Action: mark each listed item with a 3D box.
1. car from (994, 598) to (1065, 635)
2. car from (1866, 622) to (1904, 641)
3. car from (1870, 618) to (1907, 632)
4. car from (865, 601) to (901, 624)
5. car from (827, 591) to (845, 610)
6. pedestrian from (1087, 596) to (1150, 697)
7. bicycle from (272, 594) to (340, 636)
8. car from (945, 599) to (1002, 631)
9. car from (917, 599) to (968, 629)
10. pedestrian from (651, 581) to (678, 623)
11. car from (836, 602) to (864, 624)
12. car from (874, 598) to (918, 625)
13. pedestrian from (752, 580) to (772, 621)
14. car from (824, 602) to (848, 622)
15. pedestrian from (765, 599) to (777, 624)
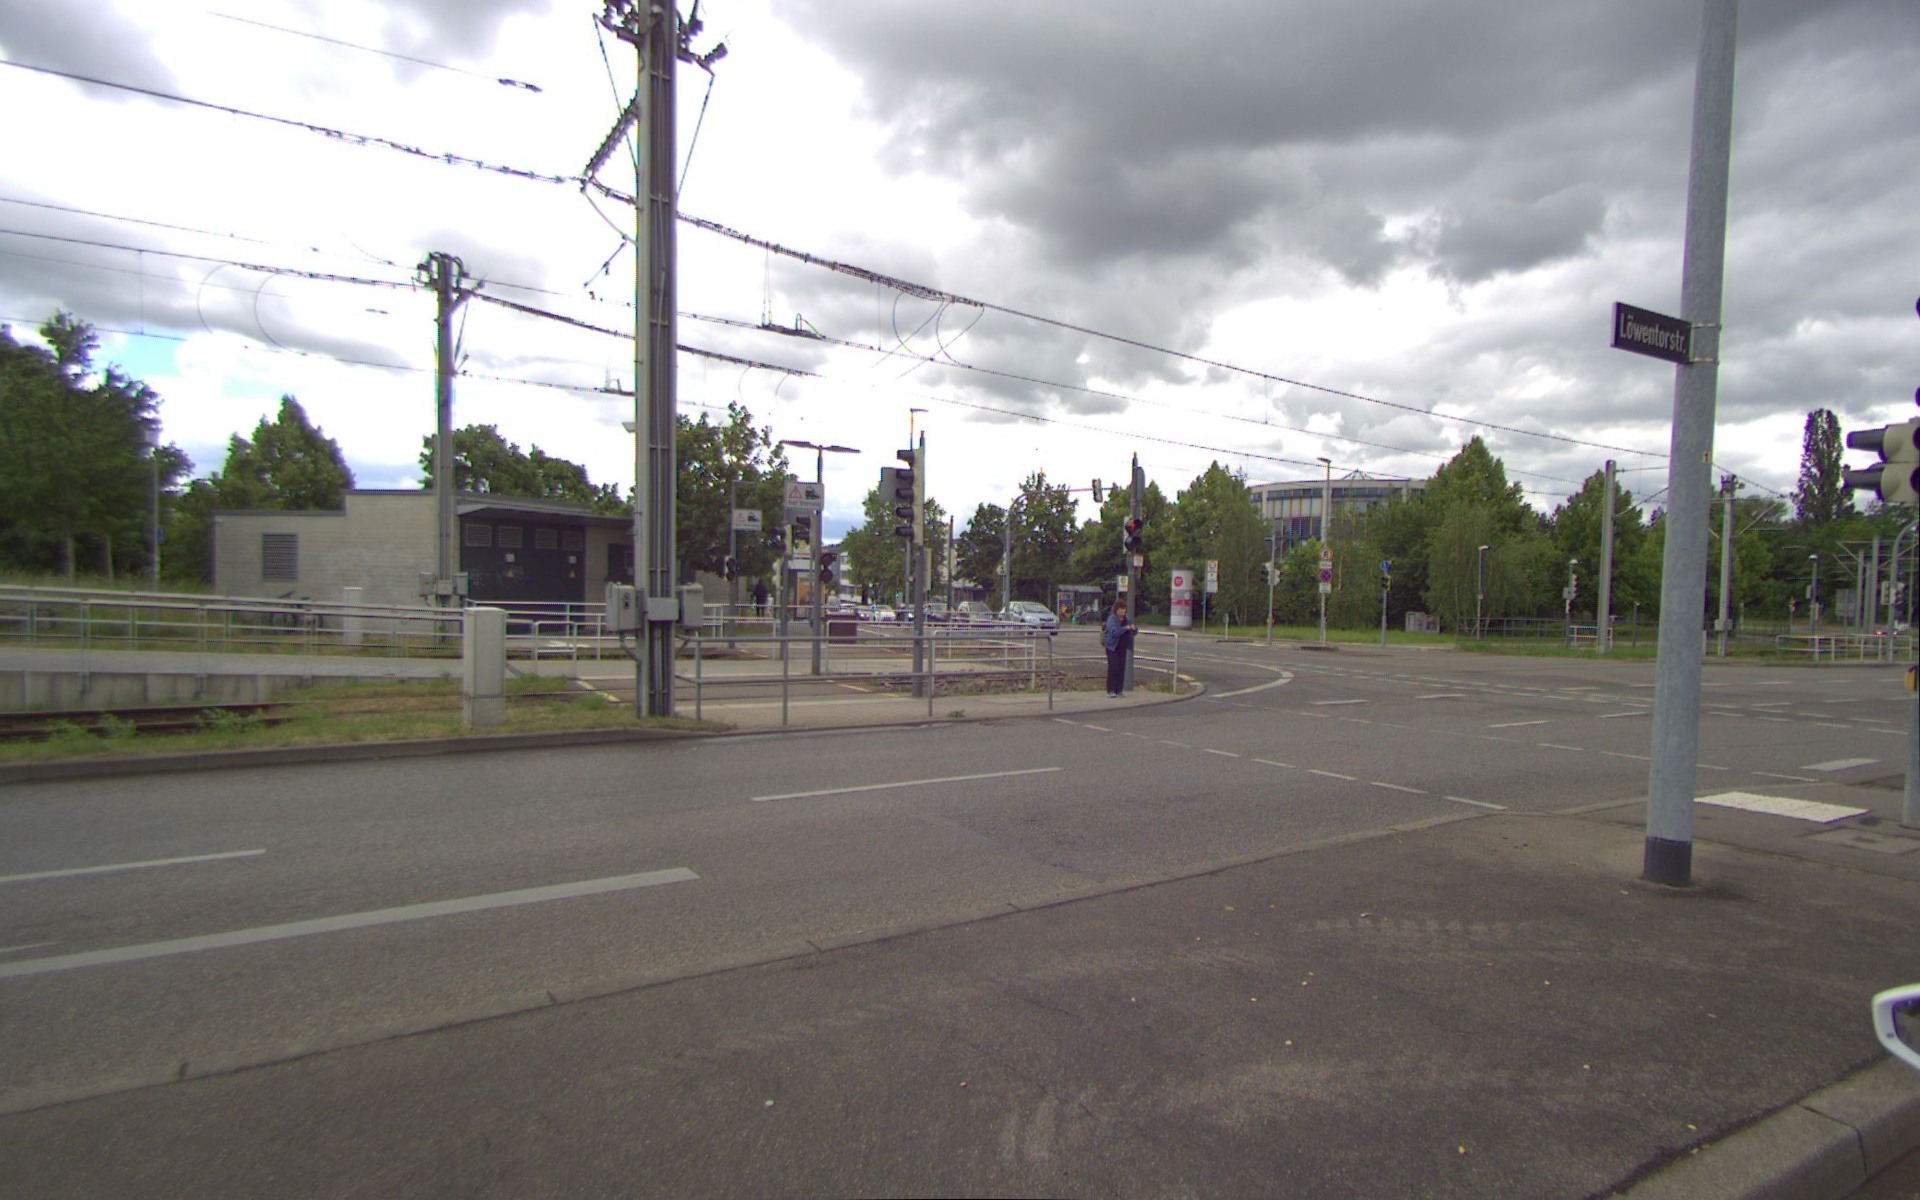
[{"bbox_3d":[3.194,0.731,46.904,1.848,1.617,3.982,2,0,-20],"label":"car"},{"bbox_3d":[95.307,3.226,103.523,1.842,1.815,3.996,2,0,26],"label":"car"},{"bbox_3d":[114.299,3.065,123.710,1.599,1.733,3.806,2,0,11],"label":"car"},{"bbox_3d":[-5.767,0.923,74.904,1.775,1.617,3.985,2,0,-17],"label":"car"},{"bbox_3d":[-14.613,0.043,118.113,1.964,2.218,5.800,1,0,-9],"label":"car"},{"bbox_3d":[2.522,0.730,16.005,0.712,1.557,0.630,2,0,-33],"label":"pedestrian"},{"bbox_3d":[-17.380,0.392,26.686,1.778,1.045,0.536,2,0,21],"label":"bicycle"},{"bbox_3d":[0.664,0.792,53.870,1.776,1.617,3.982,2,0,-20],"label":"car"},{"bbox_3d":[-1.067,0.759,58.044,1.776,1.617,3.982,2,0,-20],"label":"car"},{"bbox_3d":[-9.861,0.072,33.564,0.590,1.377,0.616,2,0,18],"label":"pedestrian"},{"bbox_3d":[-9.553,1.134,86.813,1.869,1.805,3.988,1,0,-14],"label":"car"},{"bbox_3d":[-4.153,0.695,64.581,1.776,1.617,3.982,2,0,-20],"label":"car"},{"bbox_3d":[-8.430,0.019,42.834,0.700,1.751,0.674,2,0,-19],"label":"pedestrian"},{"bbox_3d":[-11.661,1.106,94.233,1.869,1.805,3.990,1,0,-13],"label":"car"},{"bbox_3d":[-12.172,0.729,64.767,0.633,1.557,0.521,2,0,-2],"label":"pedestrian"}]
